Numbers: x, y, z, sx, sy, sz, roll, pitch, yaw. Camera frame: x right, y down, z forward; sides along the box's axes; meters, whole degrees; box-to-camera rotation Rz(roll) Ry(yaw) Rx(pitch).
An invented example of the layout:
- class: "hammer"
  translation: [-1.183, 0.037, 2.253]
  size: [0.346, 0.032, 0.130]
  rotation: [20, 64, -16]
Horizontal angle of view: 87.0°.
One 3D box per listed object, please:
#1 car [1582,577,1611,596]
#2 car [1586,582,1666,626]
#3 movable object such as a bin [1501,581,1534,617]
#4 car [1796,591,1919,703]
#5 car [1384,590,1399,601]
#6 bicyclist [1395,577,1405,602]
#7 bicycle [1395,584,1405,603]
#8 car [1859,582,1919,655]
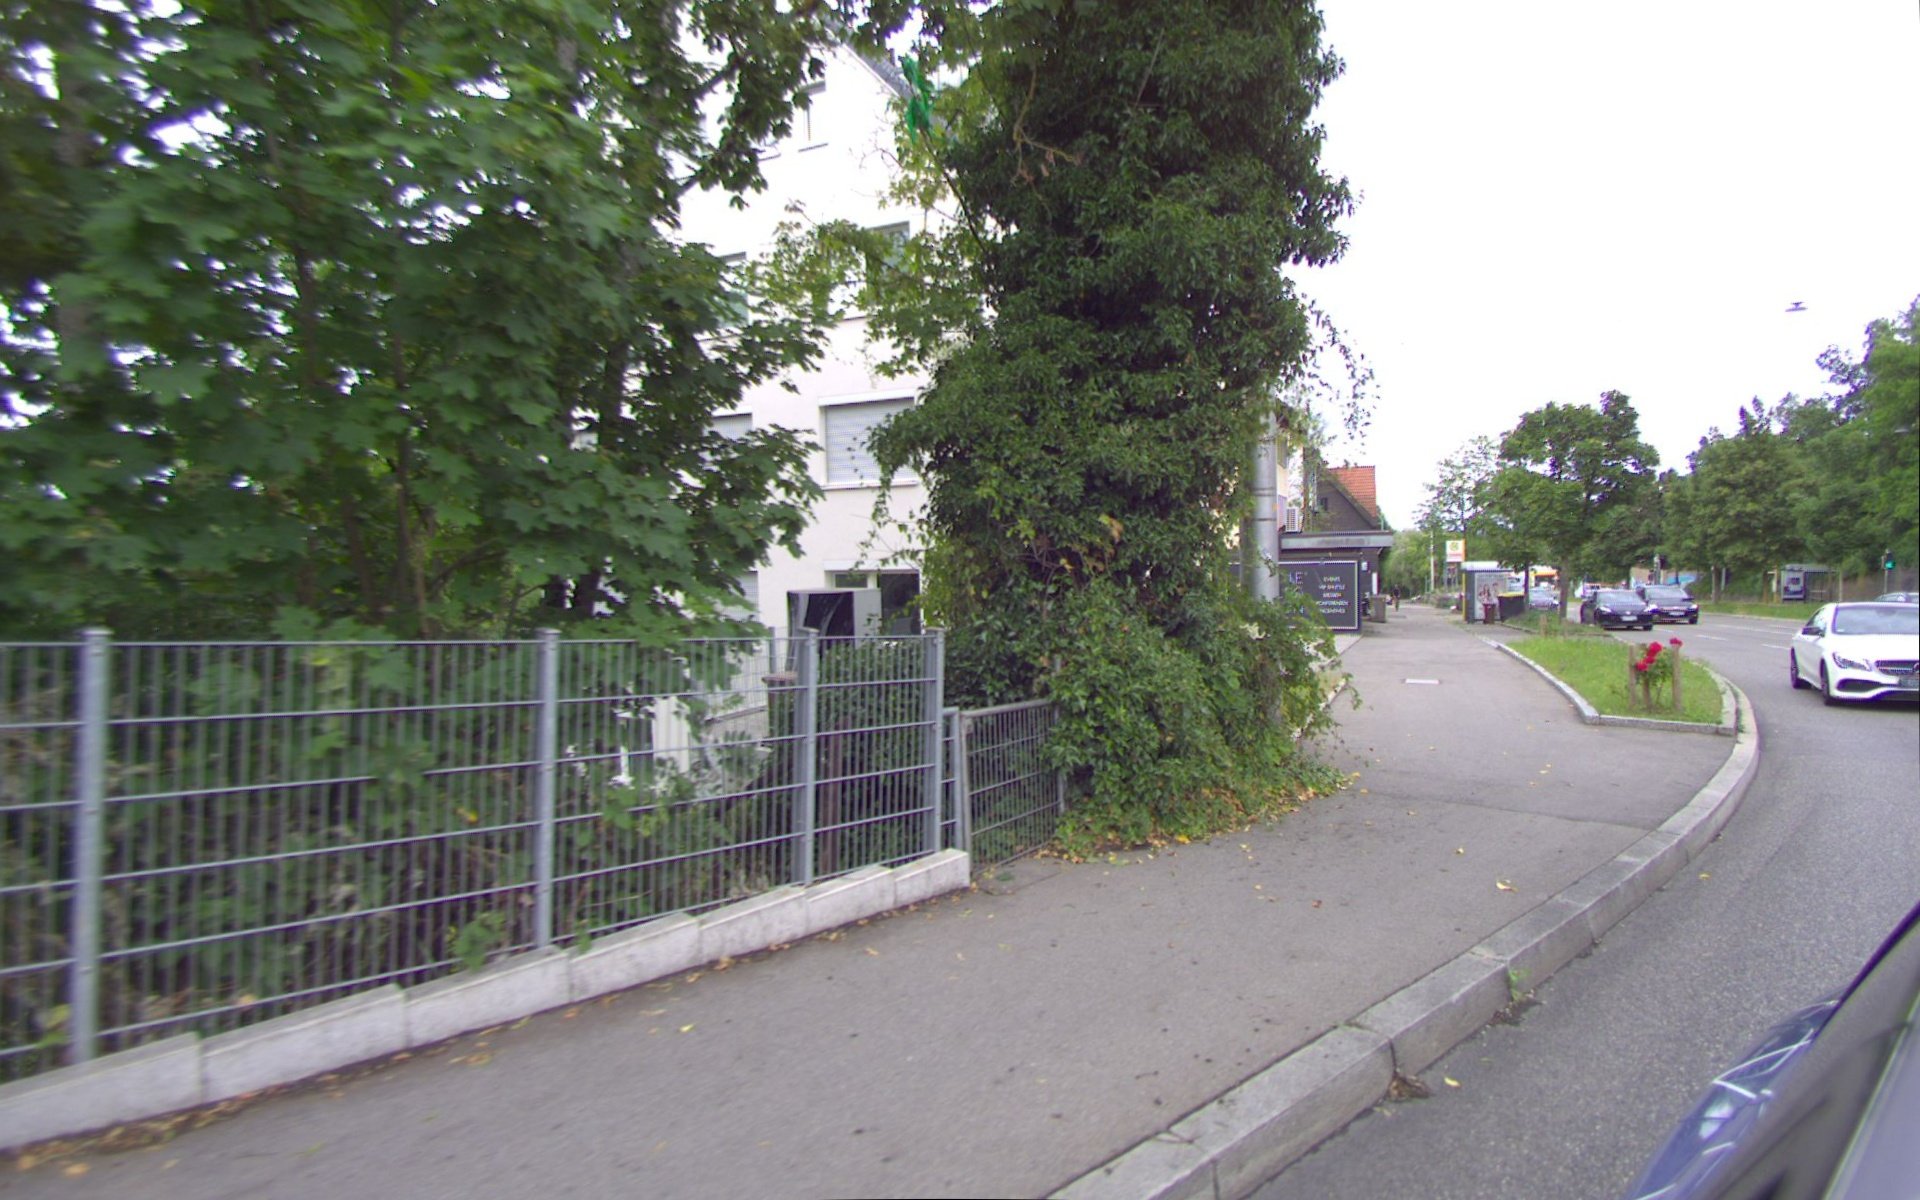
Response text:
- class: "car"
  translation: [70.752, -1.481, 112.474]
  size: [1.923, 1.982, 4.982]
  rotation: [0, 1, 23]
- class: "car"
  translation: [25.253, 0.124, 38.500]
  size: [1.758, 1.561, 3.969]
  rotation: [-1, 0, 23]
- class: "movable object such as a bin"
  translation: [23.500, -0.041, 42.682]
  size: [1.077, 1.500, 1.524]
  rotation: [-1, 0, 24]
- class: "car"
  translation: [13.569, 0.594, 14.617]
  size: [1.805, 1.416, 3.953]
  rotation: [-1, 0, 33]
- class: "car"
  translation: [66.477, -0.730, 155.993]
  size: [1.901, 1.672, 3.971]
  rotation: [-1, 0, 22]
- class: "bicyclist"
  translation: [29.683, -0.690, 68.275]
  size: [0.533, 1.654, 0.940]
  rotation: [-1, 0, 23]
- class: "bicycle"
  translation: [29.857, -0.444, 68.737]
  size: [0.566, 1.278, 2.023]
  rotation: [0, 0, 22]
- class: "car"
  translation: [20.612, 0.354, 20.771]
  size: [1.895, 1.500, 4.365]
  rotation: [-1, 0, 23]
